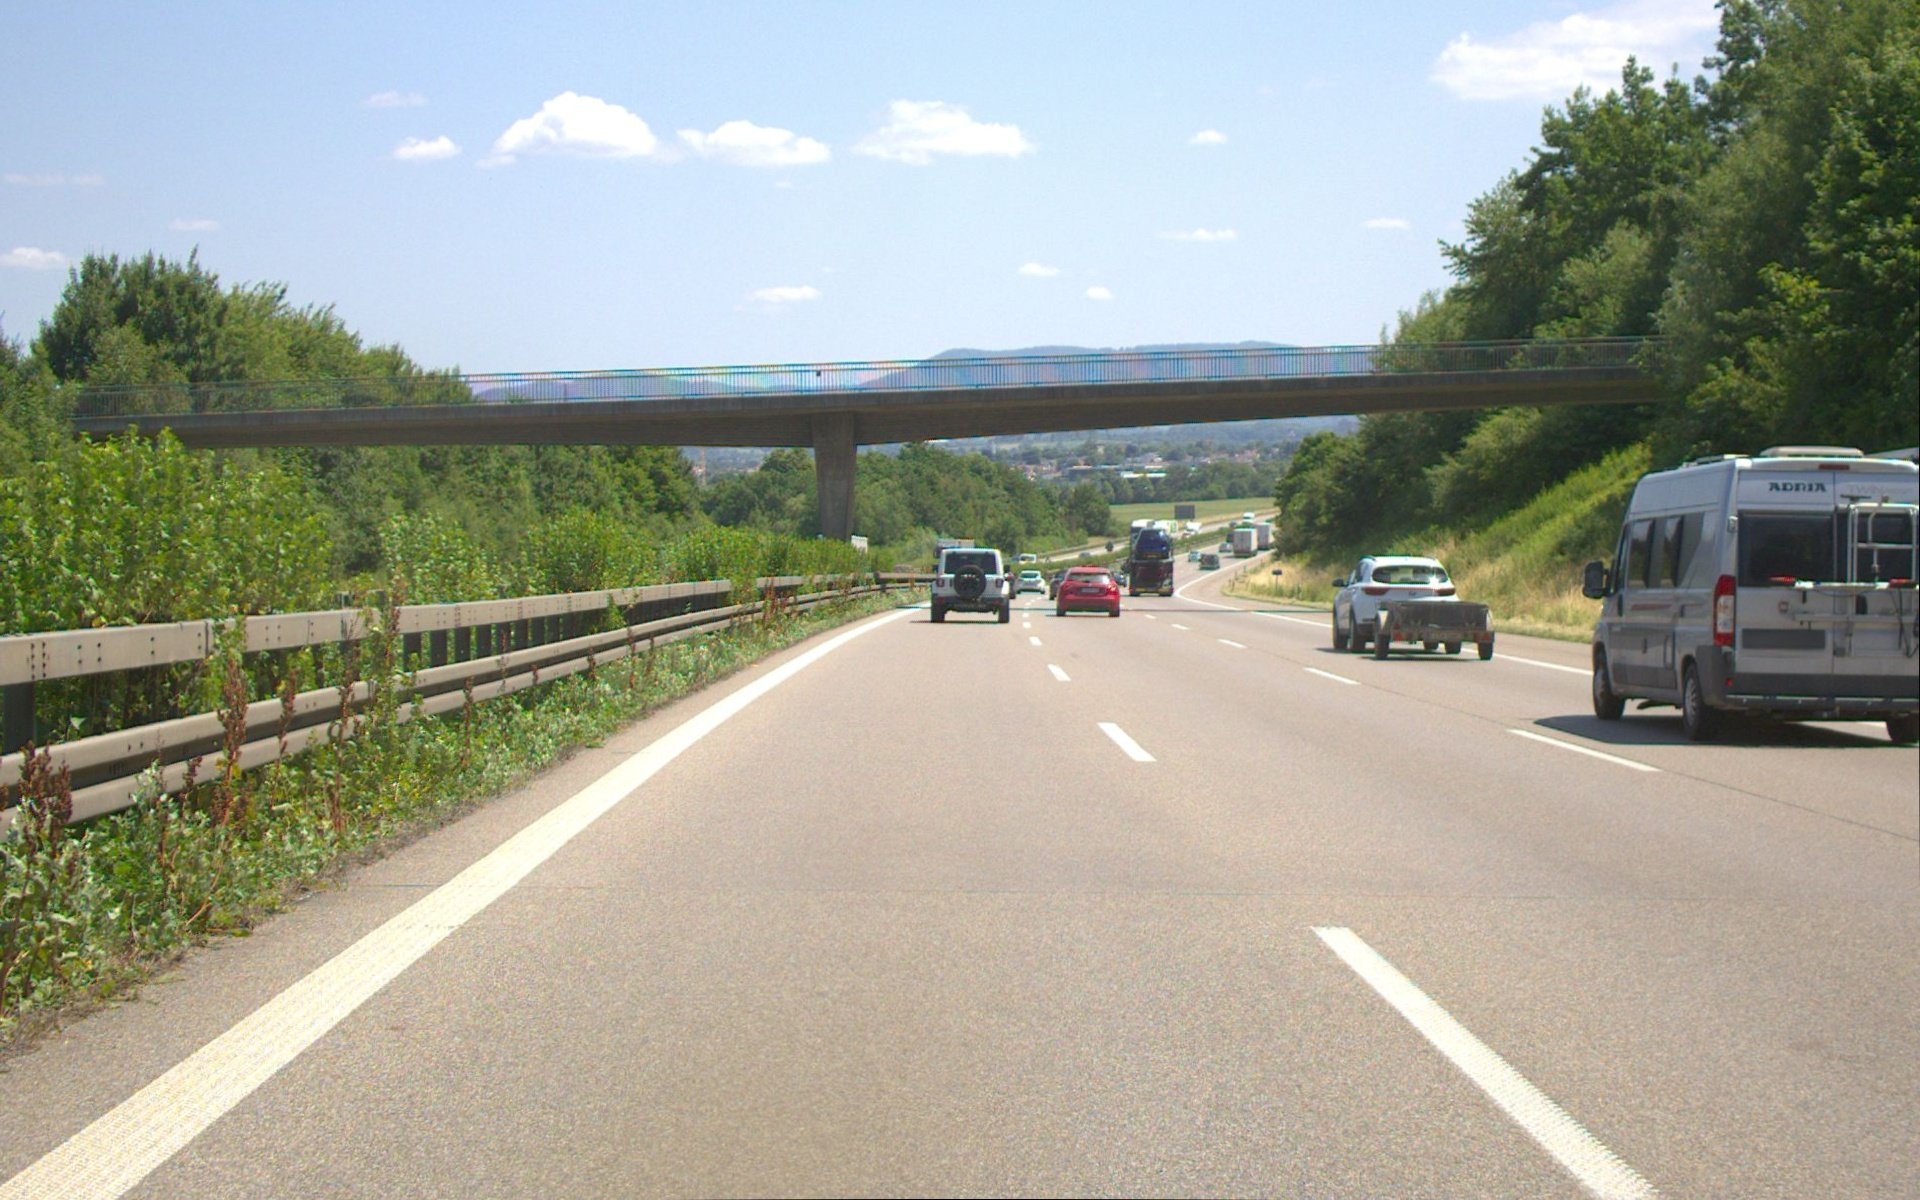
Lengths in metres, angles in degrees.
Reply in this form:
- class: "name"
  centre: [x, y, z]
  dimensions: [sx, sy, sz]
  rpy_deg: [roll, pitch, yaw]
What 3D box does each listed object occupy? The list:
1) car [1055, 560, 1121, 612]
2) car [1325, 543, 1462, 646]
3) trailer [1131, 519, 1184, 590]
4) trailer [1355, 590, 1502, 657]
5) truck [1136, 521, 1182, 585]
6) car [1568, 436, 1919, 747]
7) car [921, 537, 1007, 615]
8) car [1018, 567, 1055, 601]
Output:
- class: "car"
  centre: [3.682, -0.419, 99.586]
  dimensions: [1.686, 1.374, 3.949]
  rpy_deg: [1, 2, -1]
- class: "car"
  centre: [7.503, -0.122, 59.830]
  dimensions: [1.781, 1.645, 4.403]
  rpy_deg: [1, 2, 0]
- class: "trailer"
  centre: [11.918, -2.798, 206.902]
  dimensions: [2.855, 3.979, 15.395]
  rpy_deg: [1, 2, 4]
- class: "trailer"
  centre: [7.507, 0.359, 55.467]
  dimensions: [1.754, 0.905, 4.320]
  rpy_deg: [1, 2, 0]
- class: "truck"
  centre: [12.457, -2.967, 214.594]
  dimensions: [2.754, 3.839, 6.644]
  rpy_deg: [1, 2, 4]
- class: "car"
  centre: [7.324, -0.165, 32.038]
  dimensions: [2.089, 2.567, 6.622]
  rpy_deg: [1, 2, 0]
- class: "car"
  centre: [0.124, -0.628, 86.017]
  dimensions: [2.083, 1.823, 4.754]
  rpy_deg: [1, 2, 1]
- class: "car"
  centre: [4.799, -0.986, 215.360]
  dimensions: [1.699, 2.006, 3.820]
  rpy_deg: [1, 2, 11]
